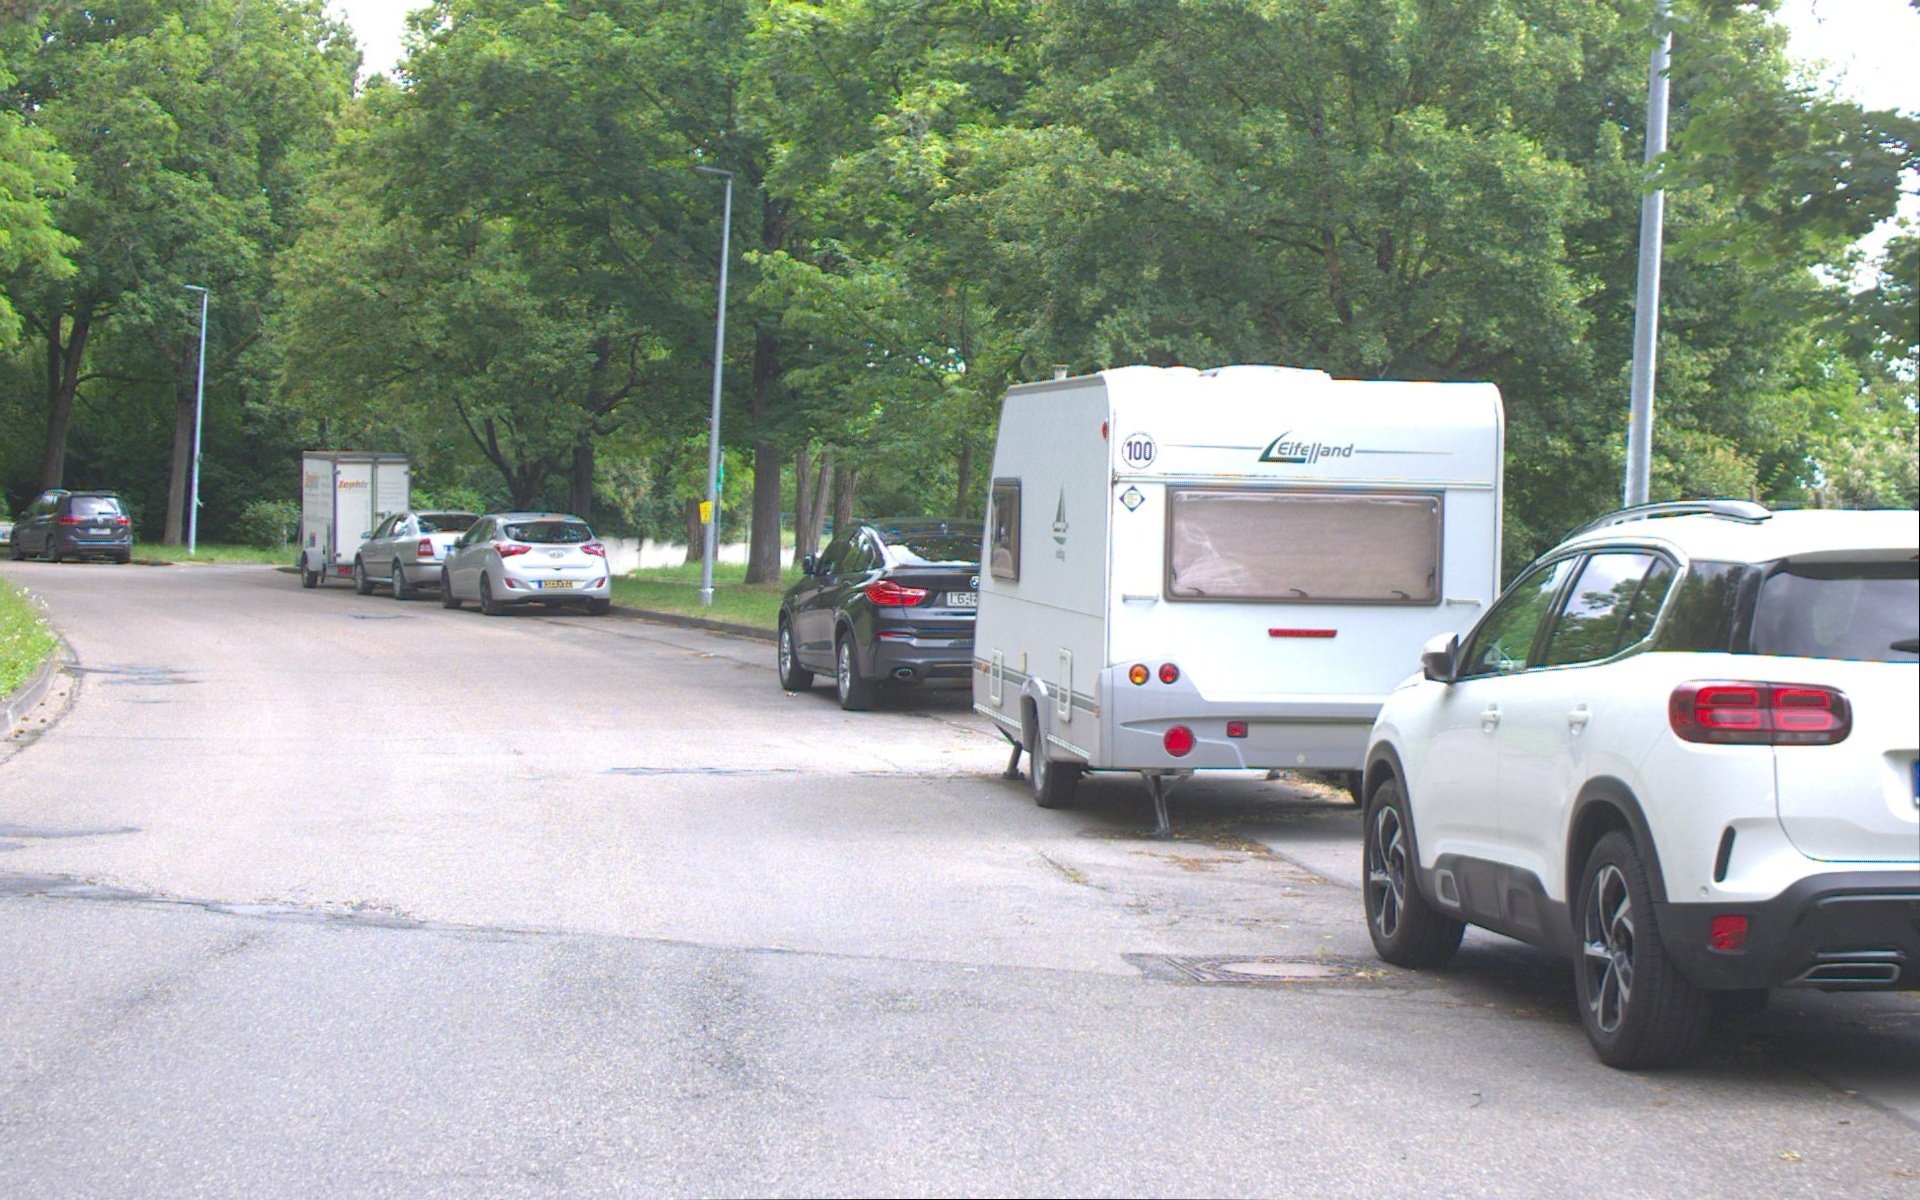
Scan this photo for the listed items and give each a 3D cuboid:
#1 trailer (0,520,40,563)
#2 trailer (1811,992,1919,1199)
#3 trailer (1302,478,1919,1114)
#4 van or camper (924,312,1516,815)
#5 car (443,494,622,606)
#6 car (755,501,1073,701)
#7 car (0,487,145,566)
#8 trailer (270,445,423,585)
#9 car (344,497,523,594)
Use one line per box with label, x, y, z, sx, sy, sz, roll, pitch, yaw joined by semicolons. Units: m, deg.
trailer;-23.616;-1.479;83.675;1.357;0.965;3.893;3;1;-30
trailer;2.881;1.141;3.286;2.104;0.649;6.402;2;1;-4
trailer;2.542;0.521;11.728;1.772;1.725;4.651;0;0;-7
van or camper;1.332;-0.227;20.830;2.161;2.527;6.033;2;1;-9
car;-6.343;-0.704;50.636;1.901;1.471;4.060;3;-1;-17
car;-0.506;-0.050;30.903;1.848;1.637;4.532;1;1;-14
car;-20.316;-1.682;78.530;1.775;1.657;4.841;3;0;-32
trailer;-11.039;-1.528;61.654;1.760;2.418;3.888;0;2;-25
car;-8.734;-0.920;56.762;1.741;1.520;4.637;0;1;-24
